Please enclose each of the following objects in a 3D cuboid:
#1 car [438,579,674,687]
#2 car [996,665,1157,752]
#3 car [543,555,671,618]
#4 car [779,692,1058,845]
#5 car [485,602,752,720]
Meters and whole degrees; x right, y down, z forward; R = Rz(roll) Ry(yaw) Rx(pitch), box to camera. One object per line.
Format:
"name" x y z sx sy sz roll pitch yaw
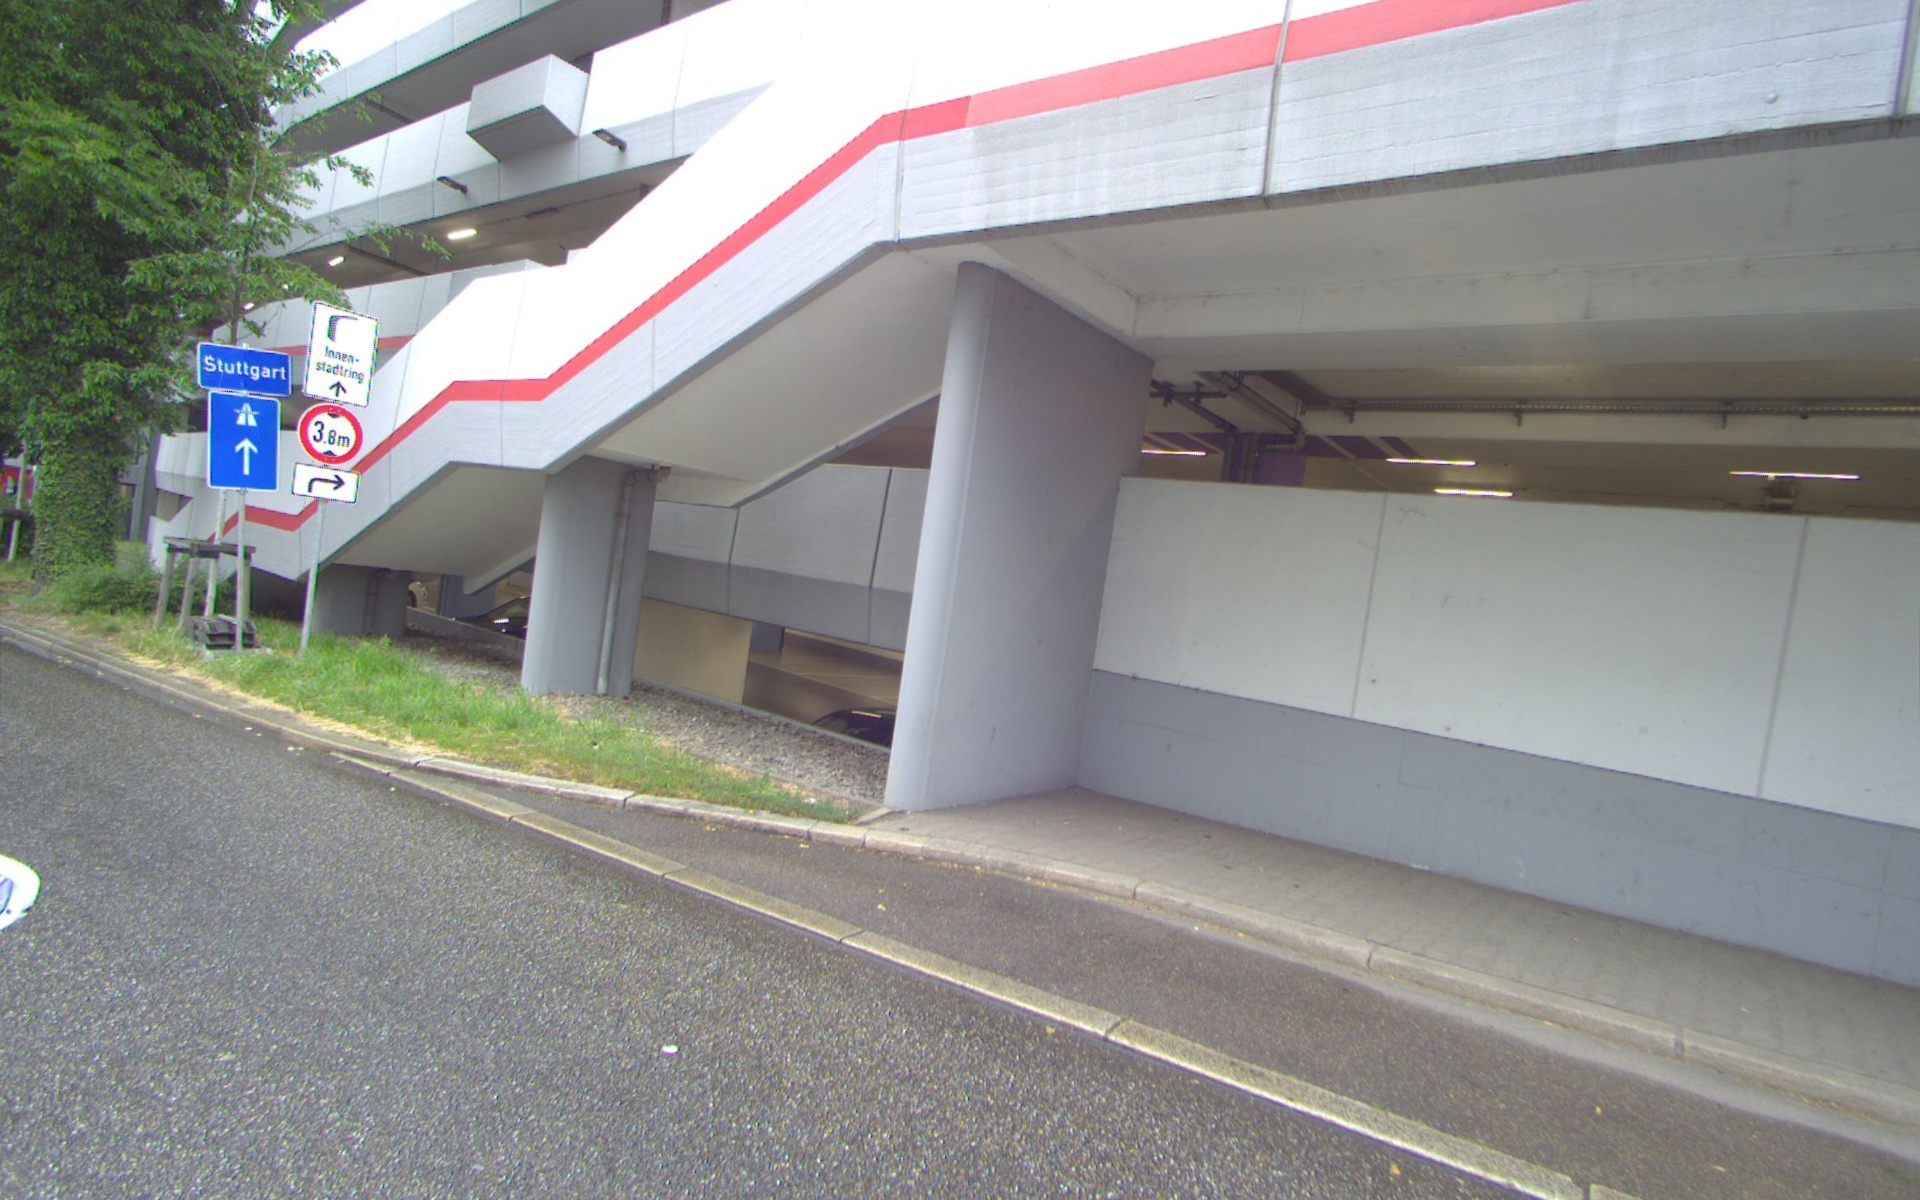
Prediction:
"car" -7.773 0.697 19.616 1.782 1.559 3.734 11 2 37
"car" 2.828 2.549 23.700 1.810 1.559 3.988 11 2 37
"car" -13.022 -0.475 37.261 1.792 1.804 3.979 7 0 44
"car" -0.475 2.344 14.678 1.810 1.559 3.931 11 2 37
"car" -5.833 1.126 17.619 1.810 1.643 3.988 7 -1 36
